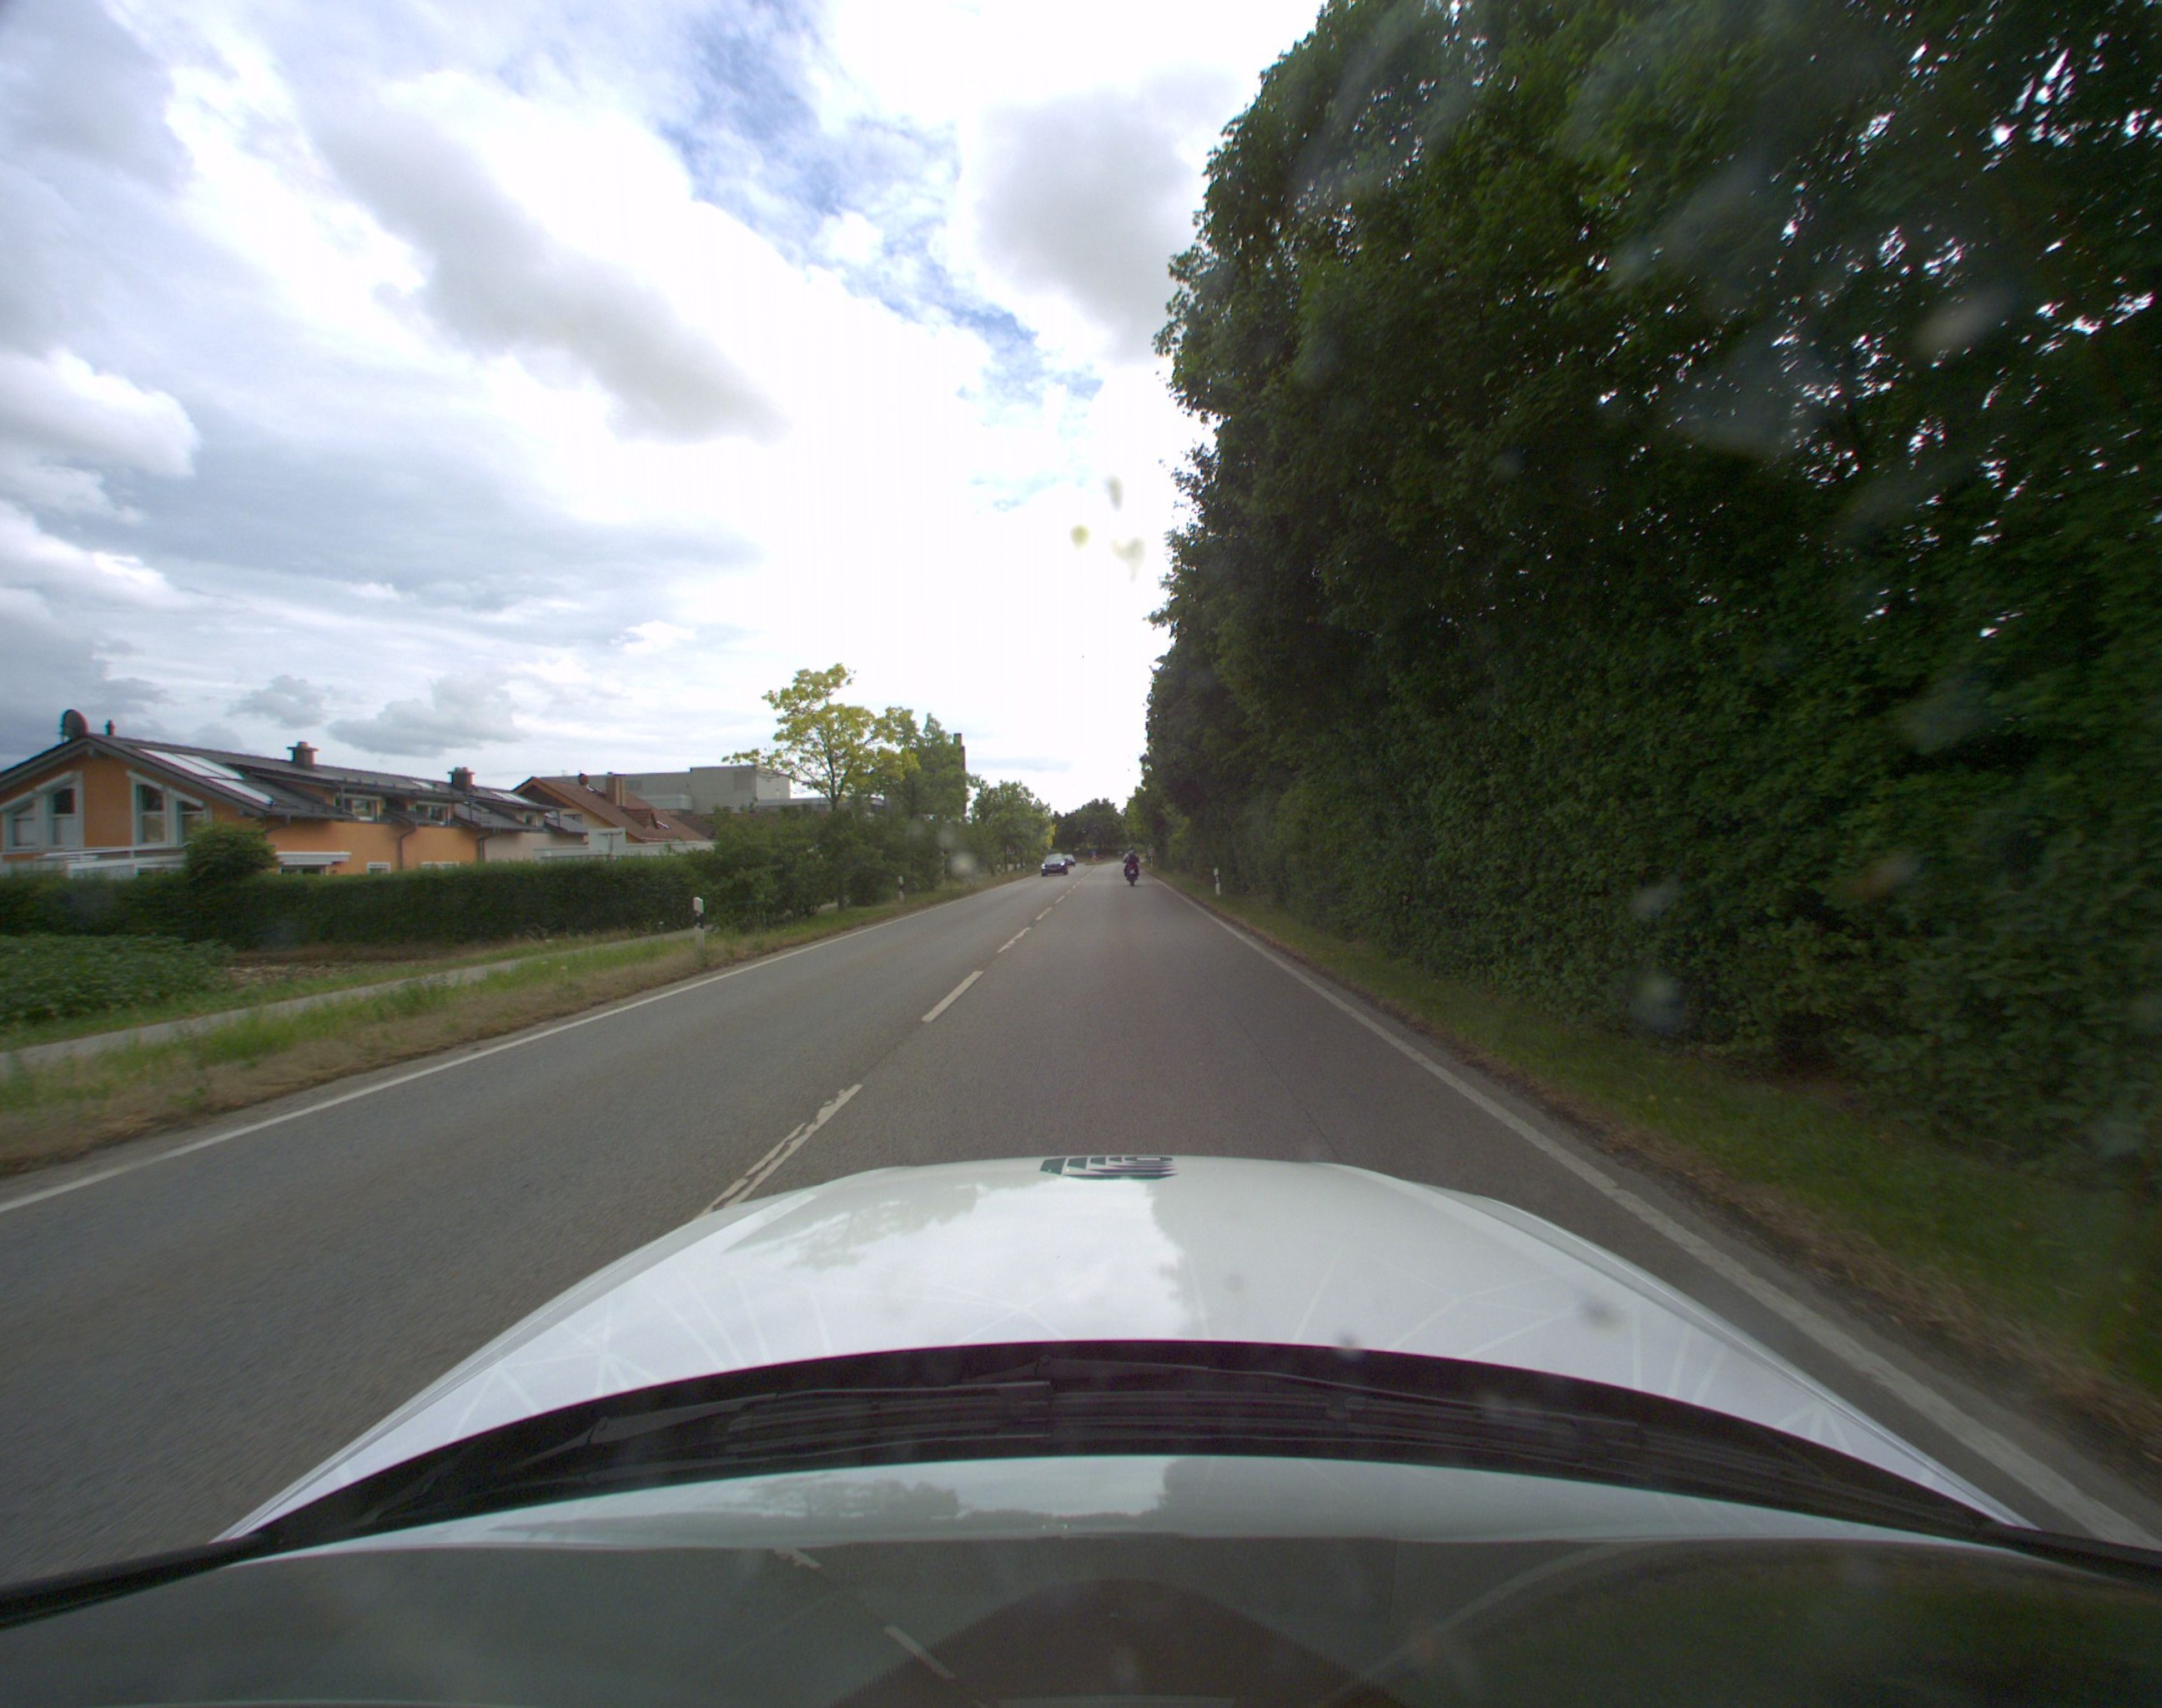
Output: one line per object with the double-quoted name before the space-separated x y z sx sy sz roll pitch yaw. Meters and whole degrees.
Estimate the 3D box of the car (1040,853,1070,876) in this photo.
"car" -1.865 0.700 59.078 1.809 1.494 4.206 -3 0 2

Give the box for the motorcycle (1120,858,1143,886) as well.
"motorcycle" 2.255 0.784 36.497 0.893 1.158 2.621 -2 0 2

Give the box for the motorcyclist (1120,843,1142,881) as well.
"motorcyclist" 2.234 0.344 36.572 0.858 1.623 1.191 -2 0 2

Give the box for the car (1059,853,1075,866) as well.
"car" -1.652 0.633 95.435 1.671 1.411 4.012 -4 0 0
